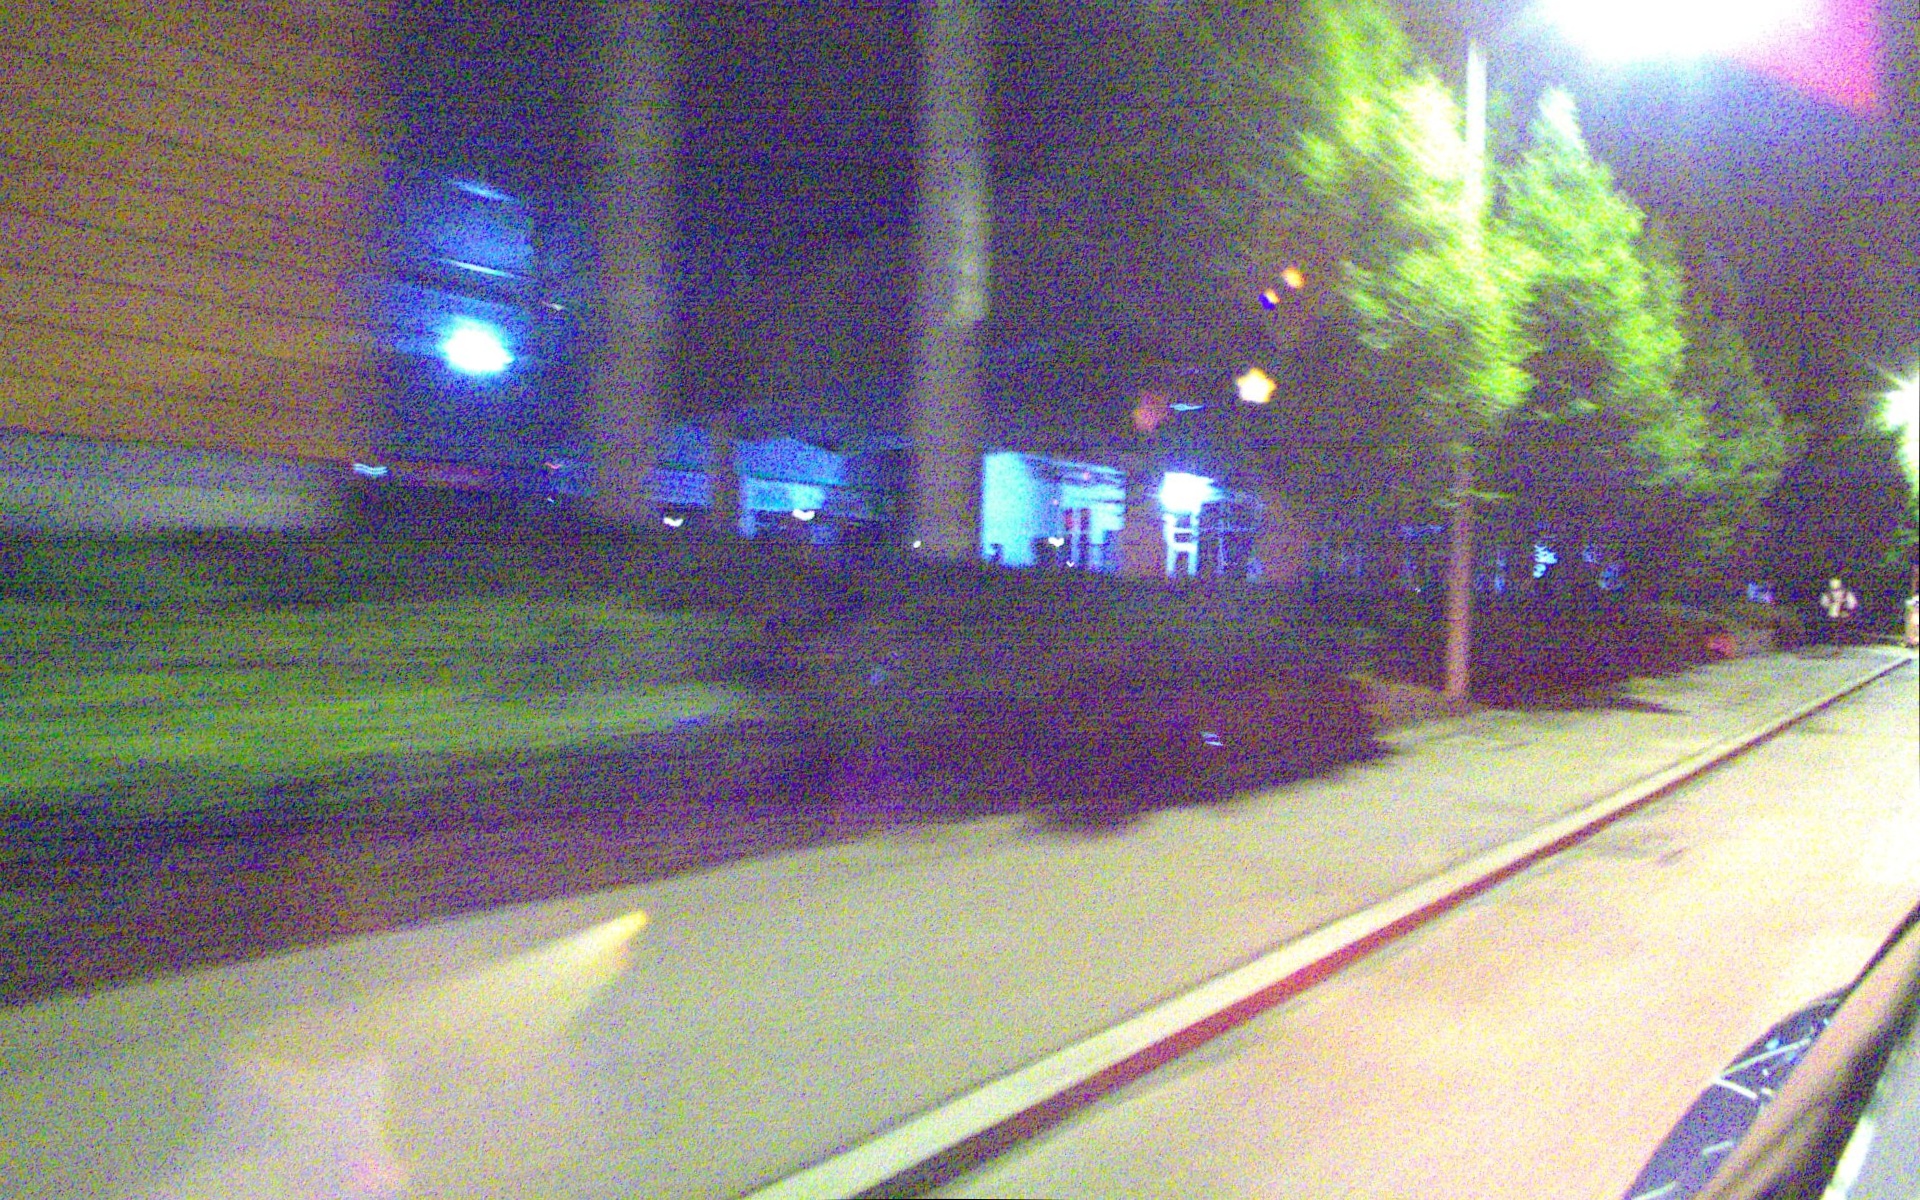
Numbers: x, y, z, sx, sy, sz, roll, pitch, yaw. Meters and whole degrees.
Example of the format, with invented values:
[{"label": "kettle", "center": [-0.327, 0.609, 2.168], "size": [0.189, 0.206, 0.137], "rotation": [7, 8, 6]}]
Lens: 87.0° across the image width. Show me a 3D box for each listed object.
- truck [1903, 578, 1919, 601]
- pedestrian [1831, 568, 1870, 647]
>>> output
[{"label": "truck", "center": [119.859, -1.256, 125.378], "size": [1.978, 2.818, 7.187], "rotation": [3, 2, 23]}, {"label": "pedestrian", "center": [21.732, 0.179, 24.699], "size": [0.806, 1.875, 0.571], "rotation": [0, 2, -42]}]
